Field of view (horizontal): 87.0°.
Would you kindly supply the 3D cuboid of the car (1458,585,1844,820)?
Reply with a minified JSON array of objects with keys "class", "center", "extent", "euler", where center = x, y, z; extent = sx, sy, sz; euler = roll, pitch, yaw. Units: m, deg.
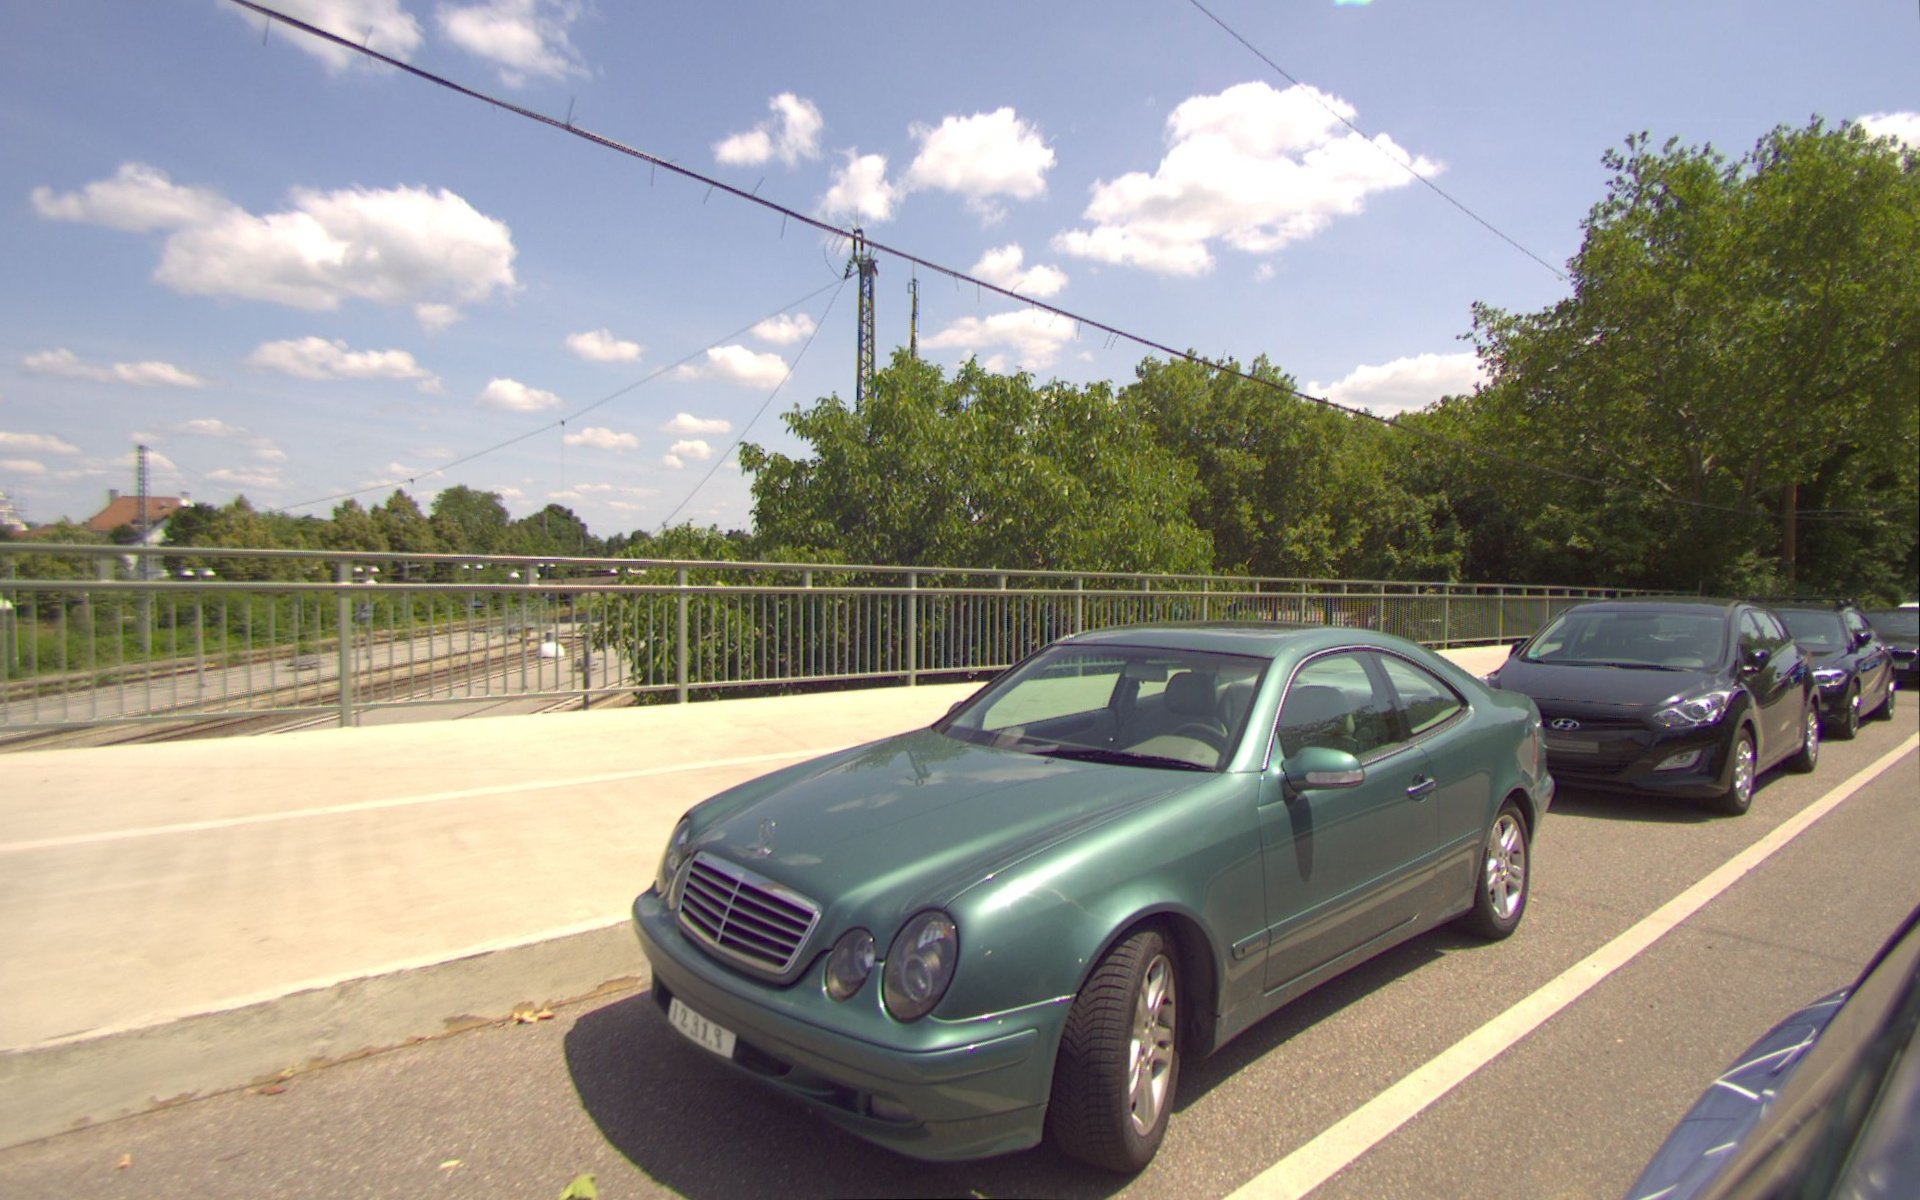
[{"class":"car","center":[5.872,0.628,8.370],"extent":[4.312,1.472,1.638],"euler":[0,0,-41]}]

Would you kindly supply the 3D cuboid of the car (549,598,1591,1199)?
[{"class":"car","center":[0.918,0.686,4.114],"extent":[4.515,1.376,1.686],"euler":[0,0,-43]}]

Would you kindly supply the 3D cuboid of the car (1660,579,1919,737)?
[{"class":"car","center":[10.150,0.581,12.171],"extent":[4.085,1.578,1.828],"euler":[0,-1,-40]}]

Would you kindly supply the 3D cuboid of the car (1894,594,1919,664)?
[{"class":"car","center":[21.810,0.617,22.060],"extent":[4.086,1.450,1.682],"euler":[0,2,-41]}]

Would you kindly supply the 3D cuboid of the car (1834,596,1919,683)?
[{"class":"car","center":[17.224,0.663,18.208],"extent":[3.634,1.407,1.758],"euler":[0,2,-41]}]

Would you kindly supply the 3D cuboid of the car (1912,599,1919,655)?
[{"class":"car","center":[26.759,0.690,26.758],"extent":[4.170,1.449,1.829],"euler":[0,0,-40]}]
